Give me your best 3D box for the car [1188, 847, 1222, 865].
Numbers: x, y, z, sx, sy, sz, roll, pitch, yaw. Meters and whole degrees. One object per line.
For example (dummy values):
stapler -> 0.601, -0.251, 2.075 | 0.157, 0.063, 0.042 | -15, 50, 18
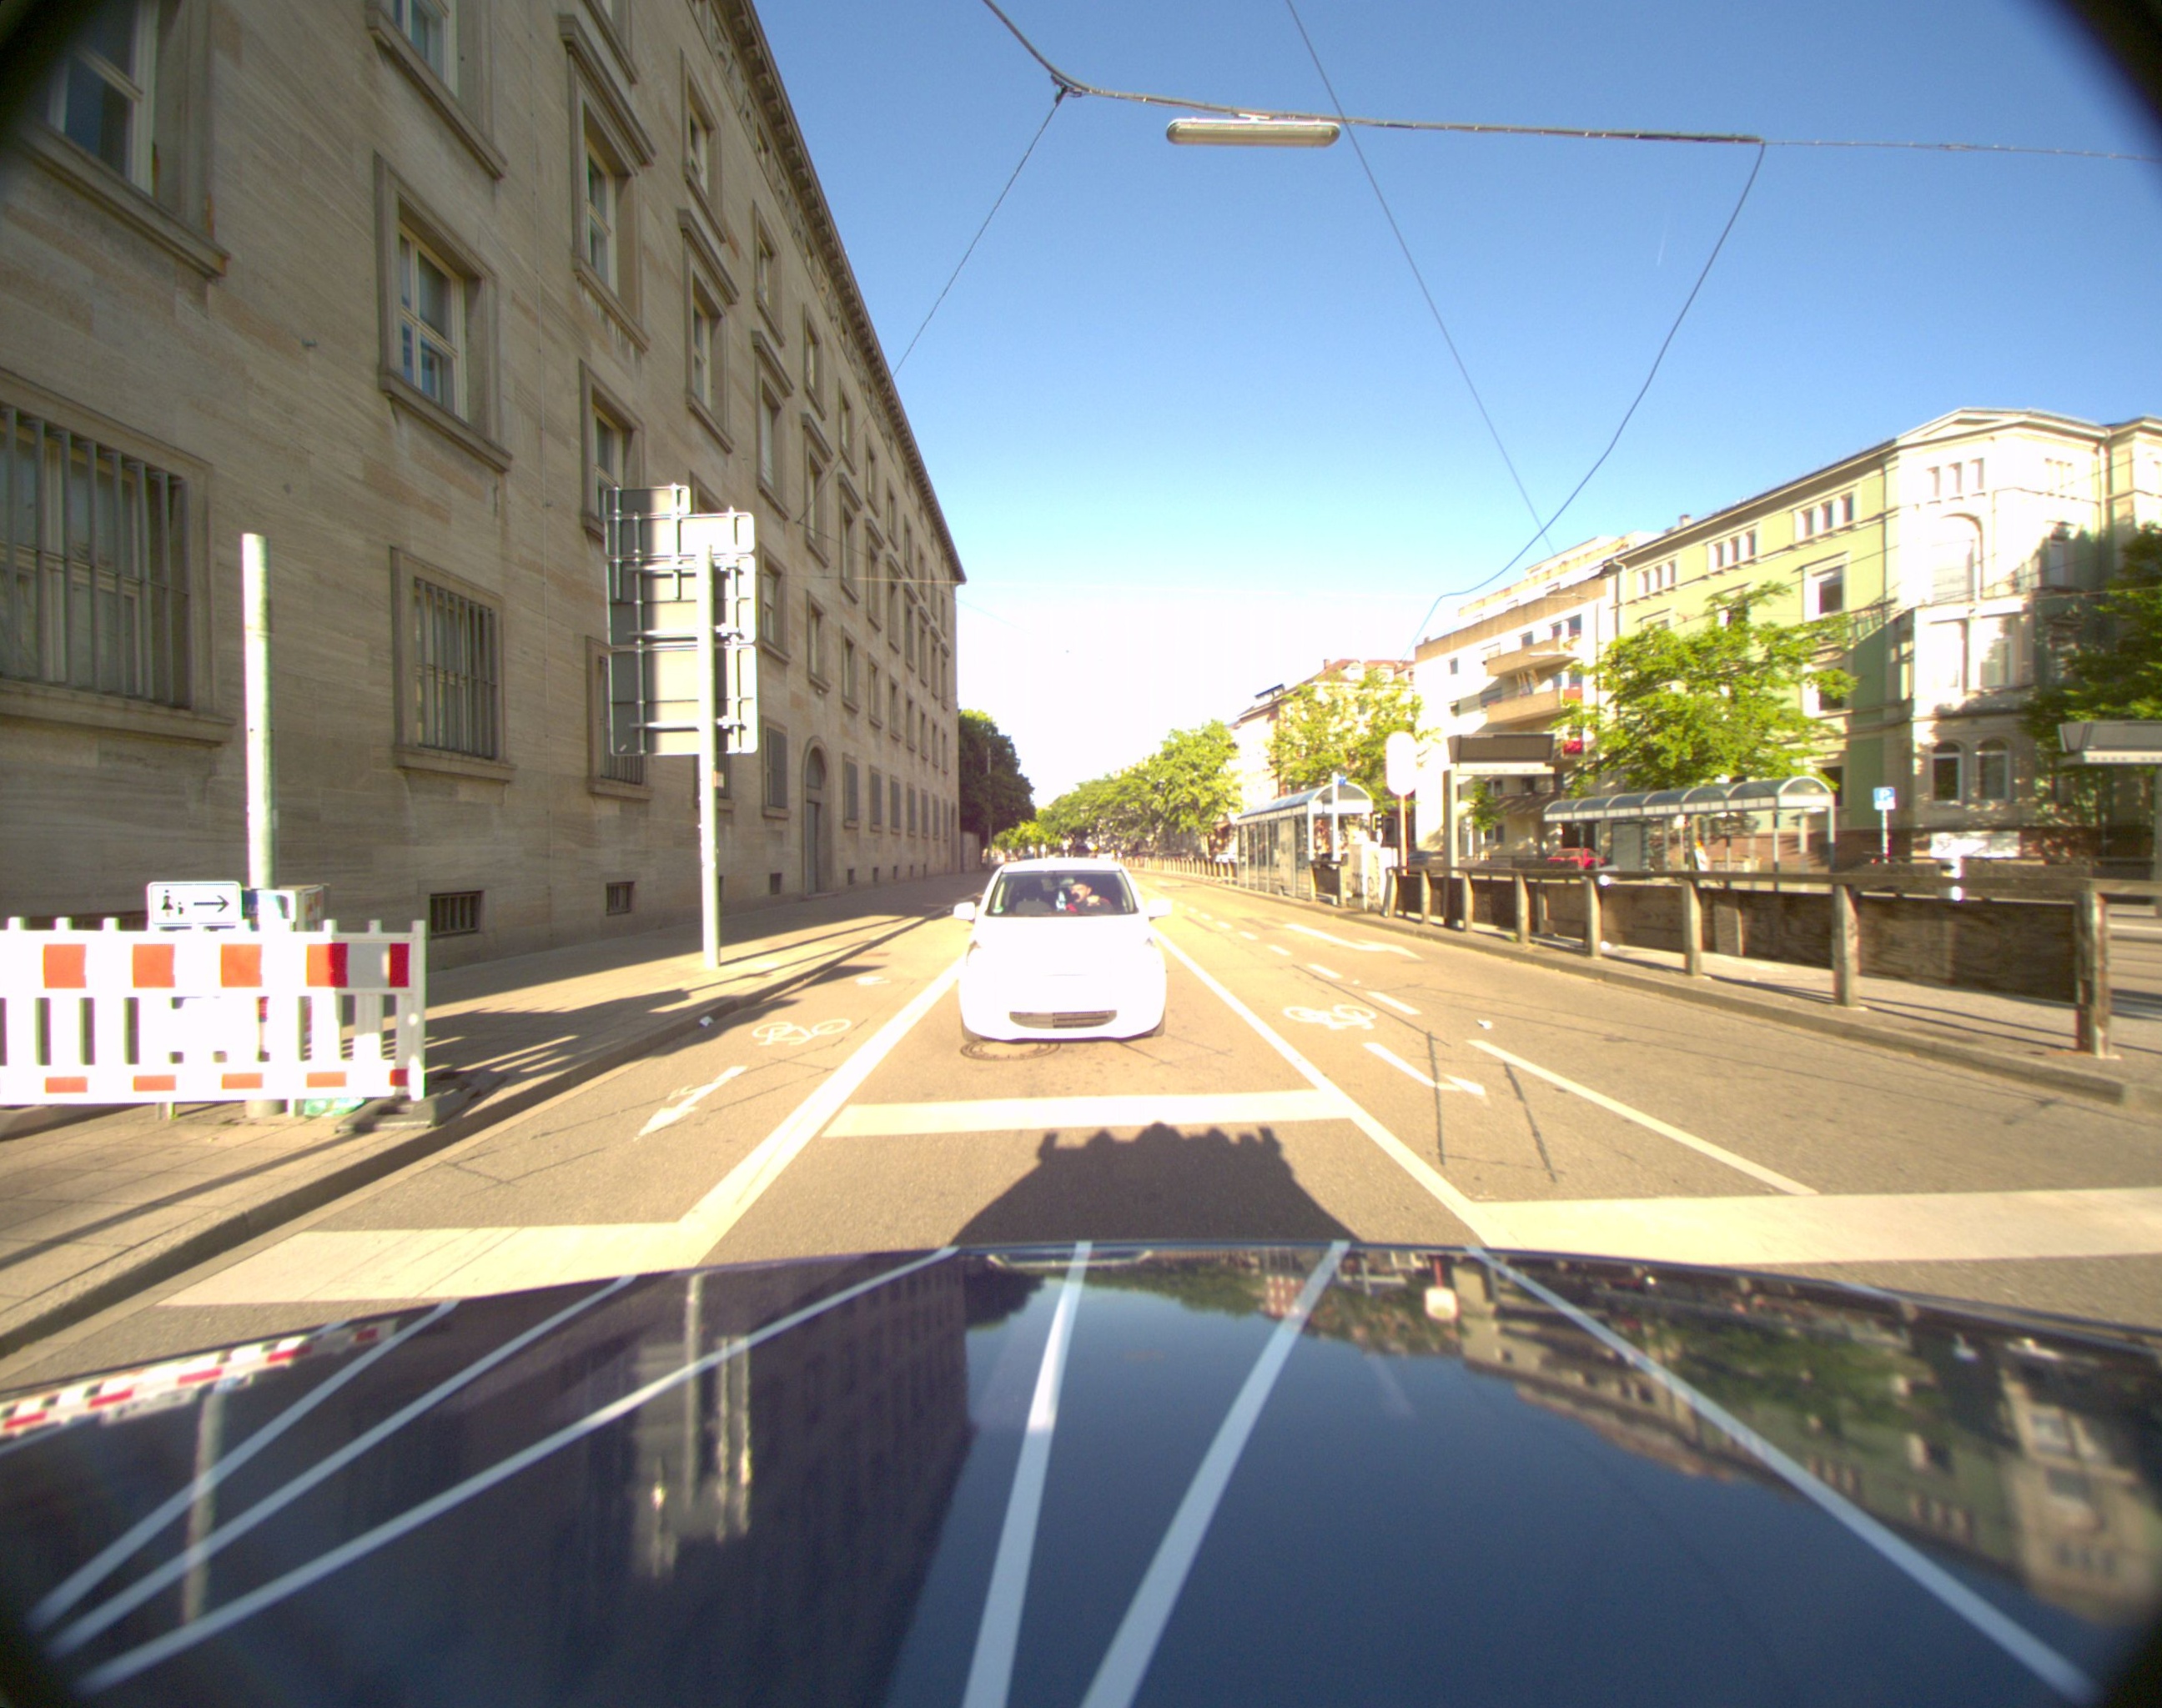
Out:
car -> 11.775, 0.194, 72.196 | 1.741, 1.576, 3.995 | -2, 1, -14

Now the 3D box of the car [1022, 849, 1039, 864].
car -> -7.091, 0.288, 105.749 | 1.760, 2.002, 3.701 | -1, 0, -13

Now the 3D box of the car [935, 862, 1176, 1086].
car -> -0.237, 0.886, 7.356 | 1.679, 1.455, 3.764 | -2, 1, -2

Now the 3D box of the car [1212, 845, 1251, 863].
car -> 14.608, -0.001, 73.698 | 4.007, 1.576, 1.736 | -3, 1, -45

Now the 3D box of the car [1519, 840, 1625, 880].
car -> 22.047, 0.254, 34.171 | 4.002, 1.576, 1.738 | -2, 1, -15

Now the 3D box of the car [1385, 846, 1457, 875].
car -> 19.765, 0.364, 44.377 | 1.741, 1.576, 3.995 | -2, 1, -14
